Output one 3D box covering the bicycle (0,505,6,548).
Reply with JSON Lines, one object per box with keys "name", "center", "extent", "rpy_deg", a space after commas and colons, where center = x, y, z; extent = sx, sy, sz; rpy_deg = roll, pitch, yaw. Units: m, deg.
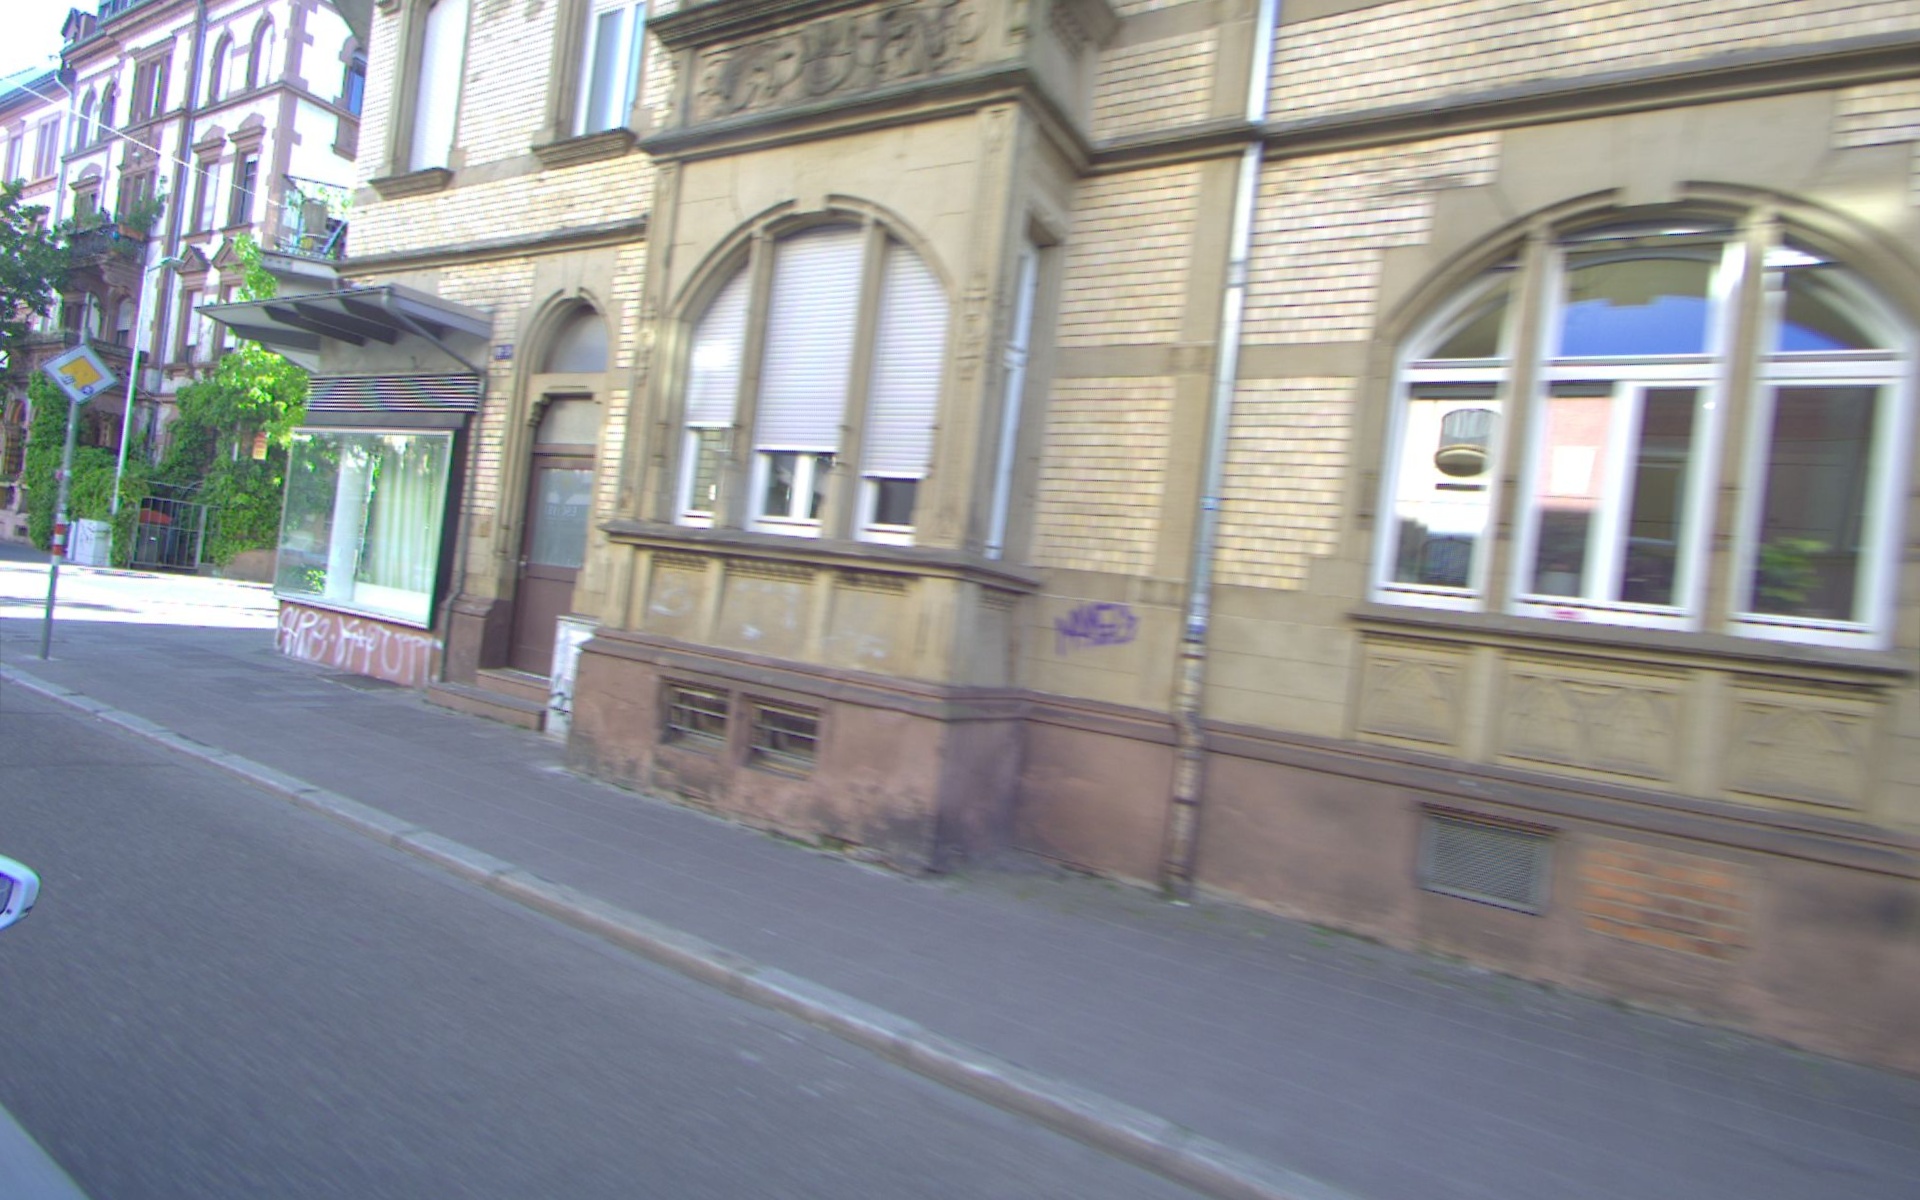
{"name": "bicycle", "center": [-22.604, -1.692, 22.583], "extent": [0.543, 1.140, 1.557], "rpy_deg": [6, -2, 38]}
